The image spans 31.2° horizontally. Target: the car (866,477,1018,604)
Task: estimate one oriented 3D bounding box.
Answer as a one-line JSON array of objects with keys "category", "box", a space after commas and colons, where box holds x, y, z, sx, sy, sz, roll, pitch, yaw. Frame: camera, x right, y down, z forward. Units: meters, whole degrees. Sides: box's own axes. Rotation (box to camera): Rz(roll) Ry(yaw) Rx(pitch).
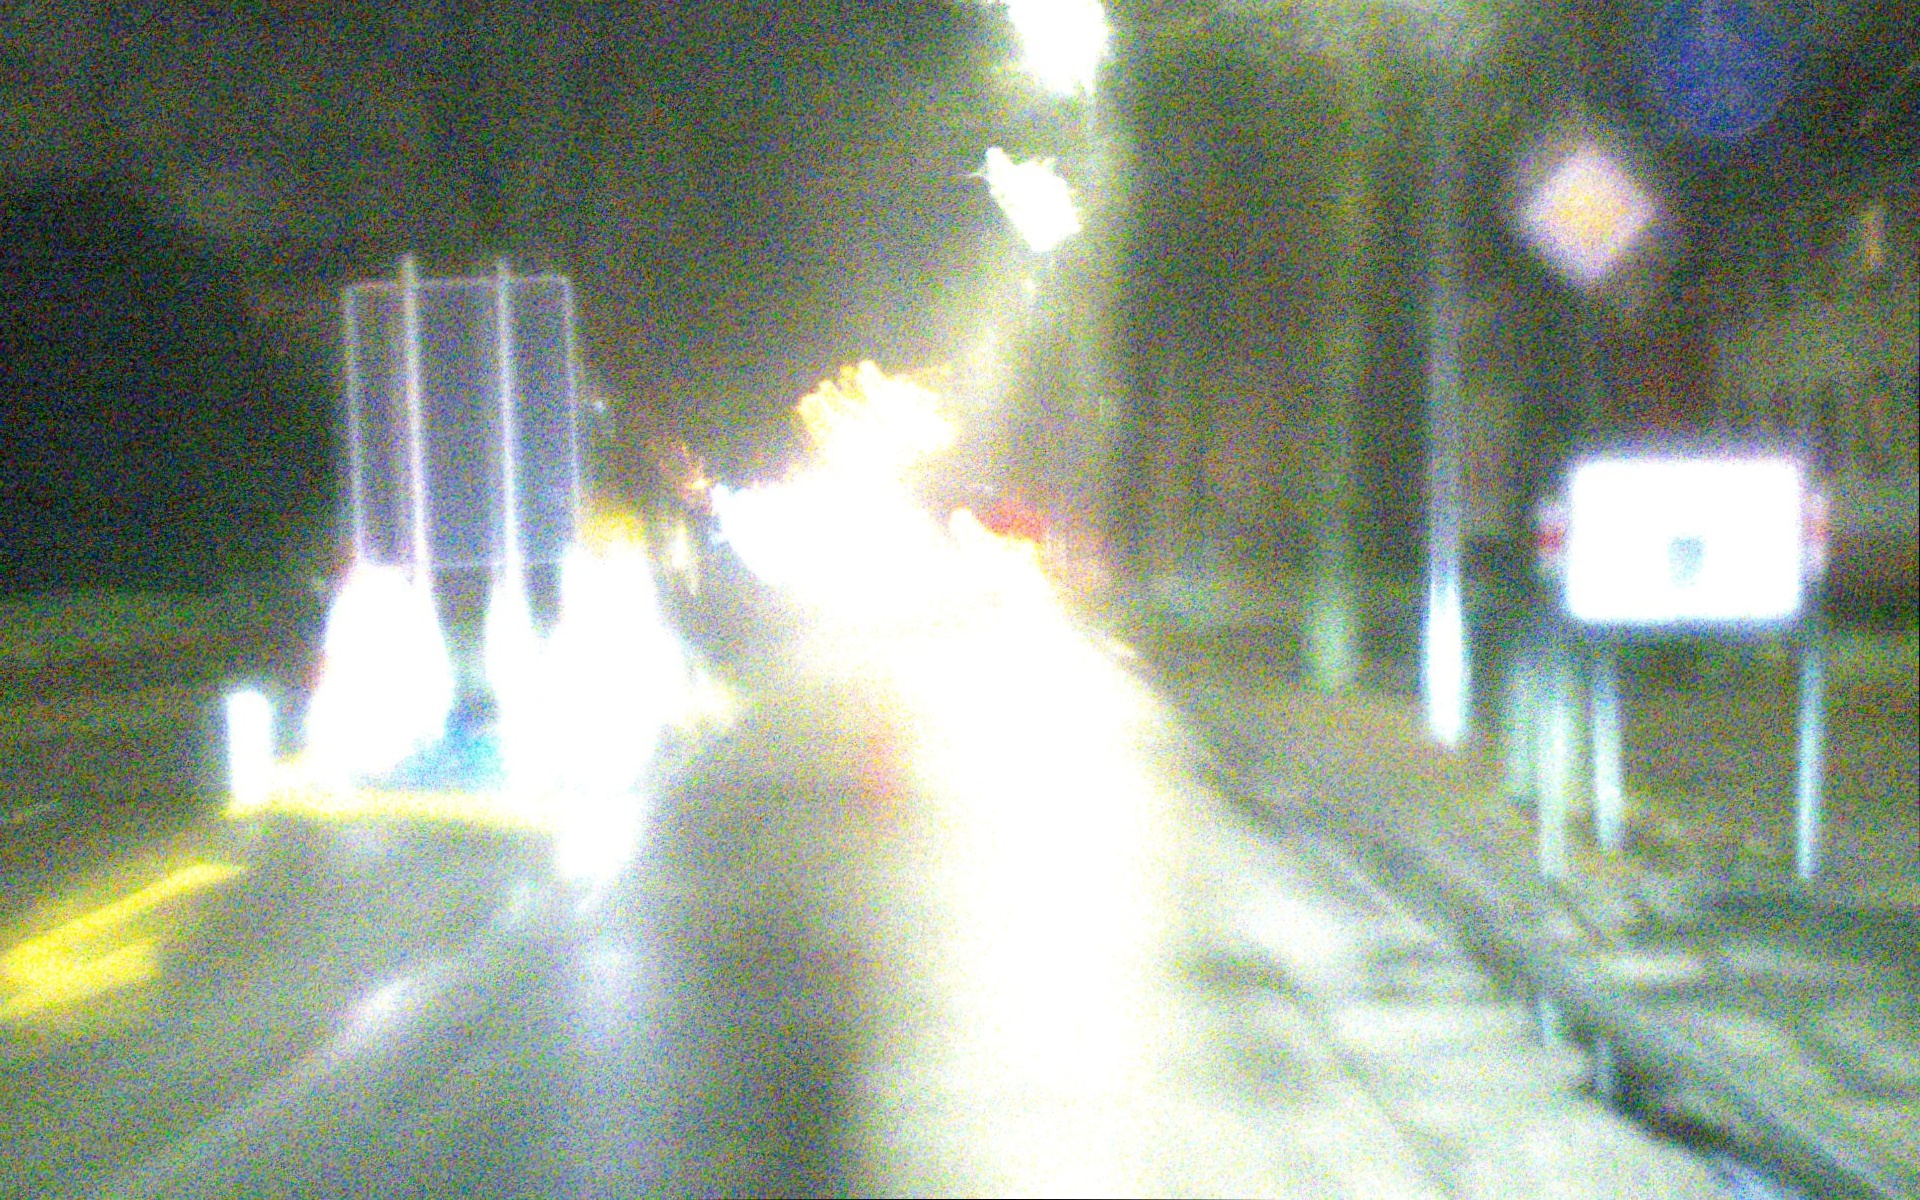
[{"category": "car", "box": [-0.293, -0.856, 48.702, 1.993, 1.678, 4.001, 1, 1, -2]}]
